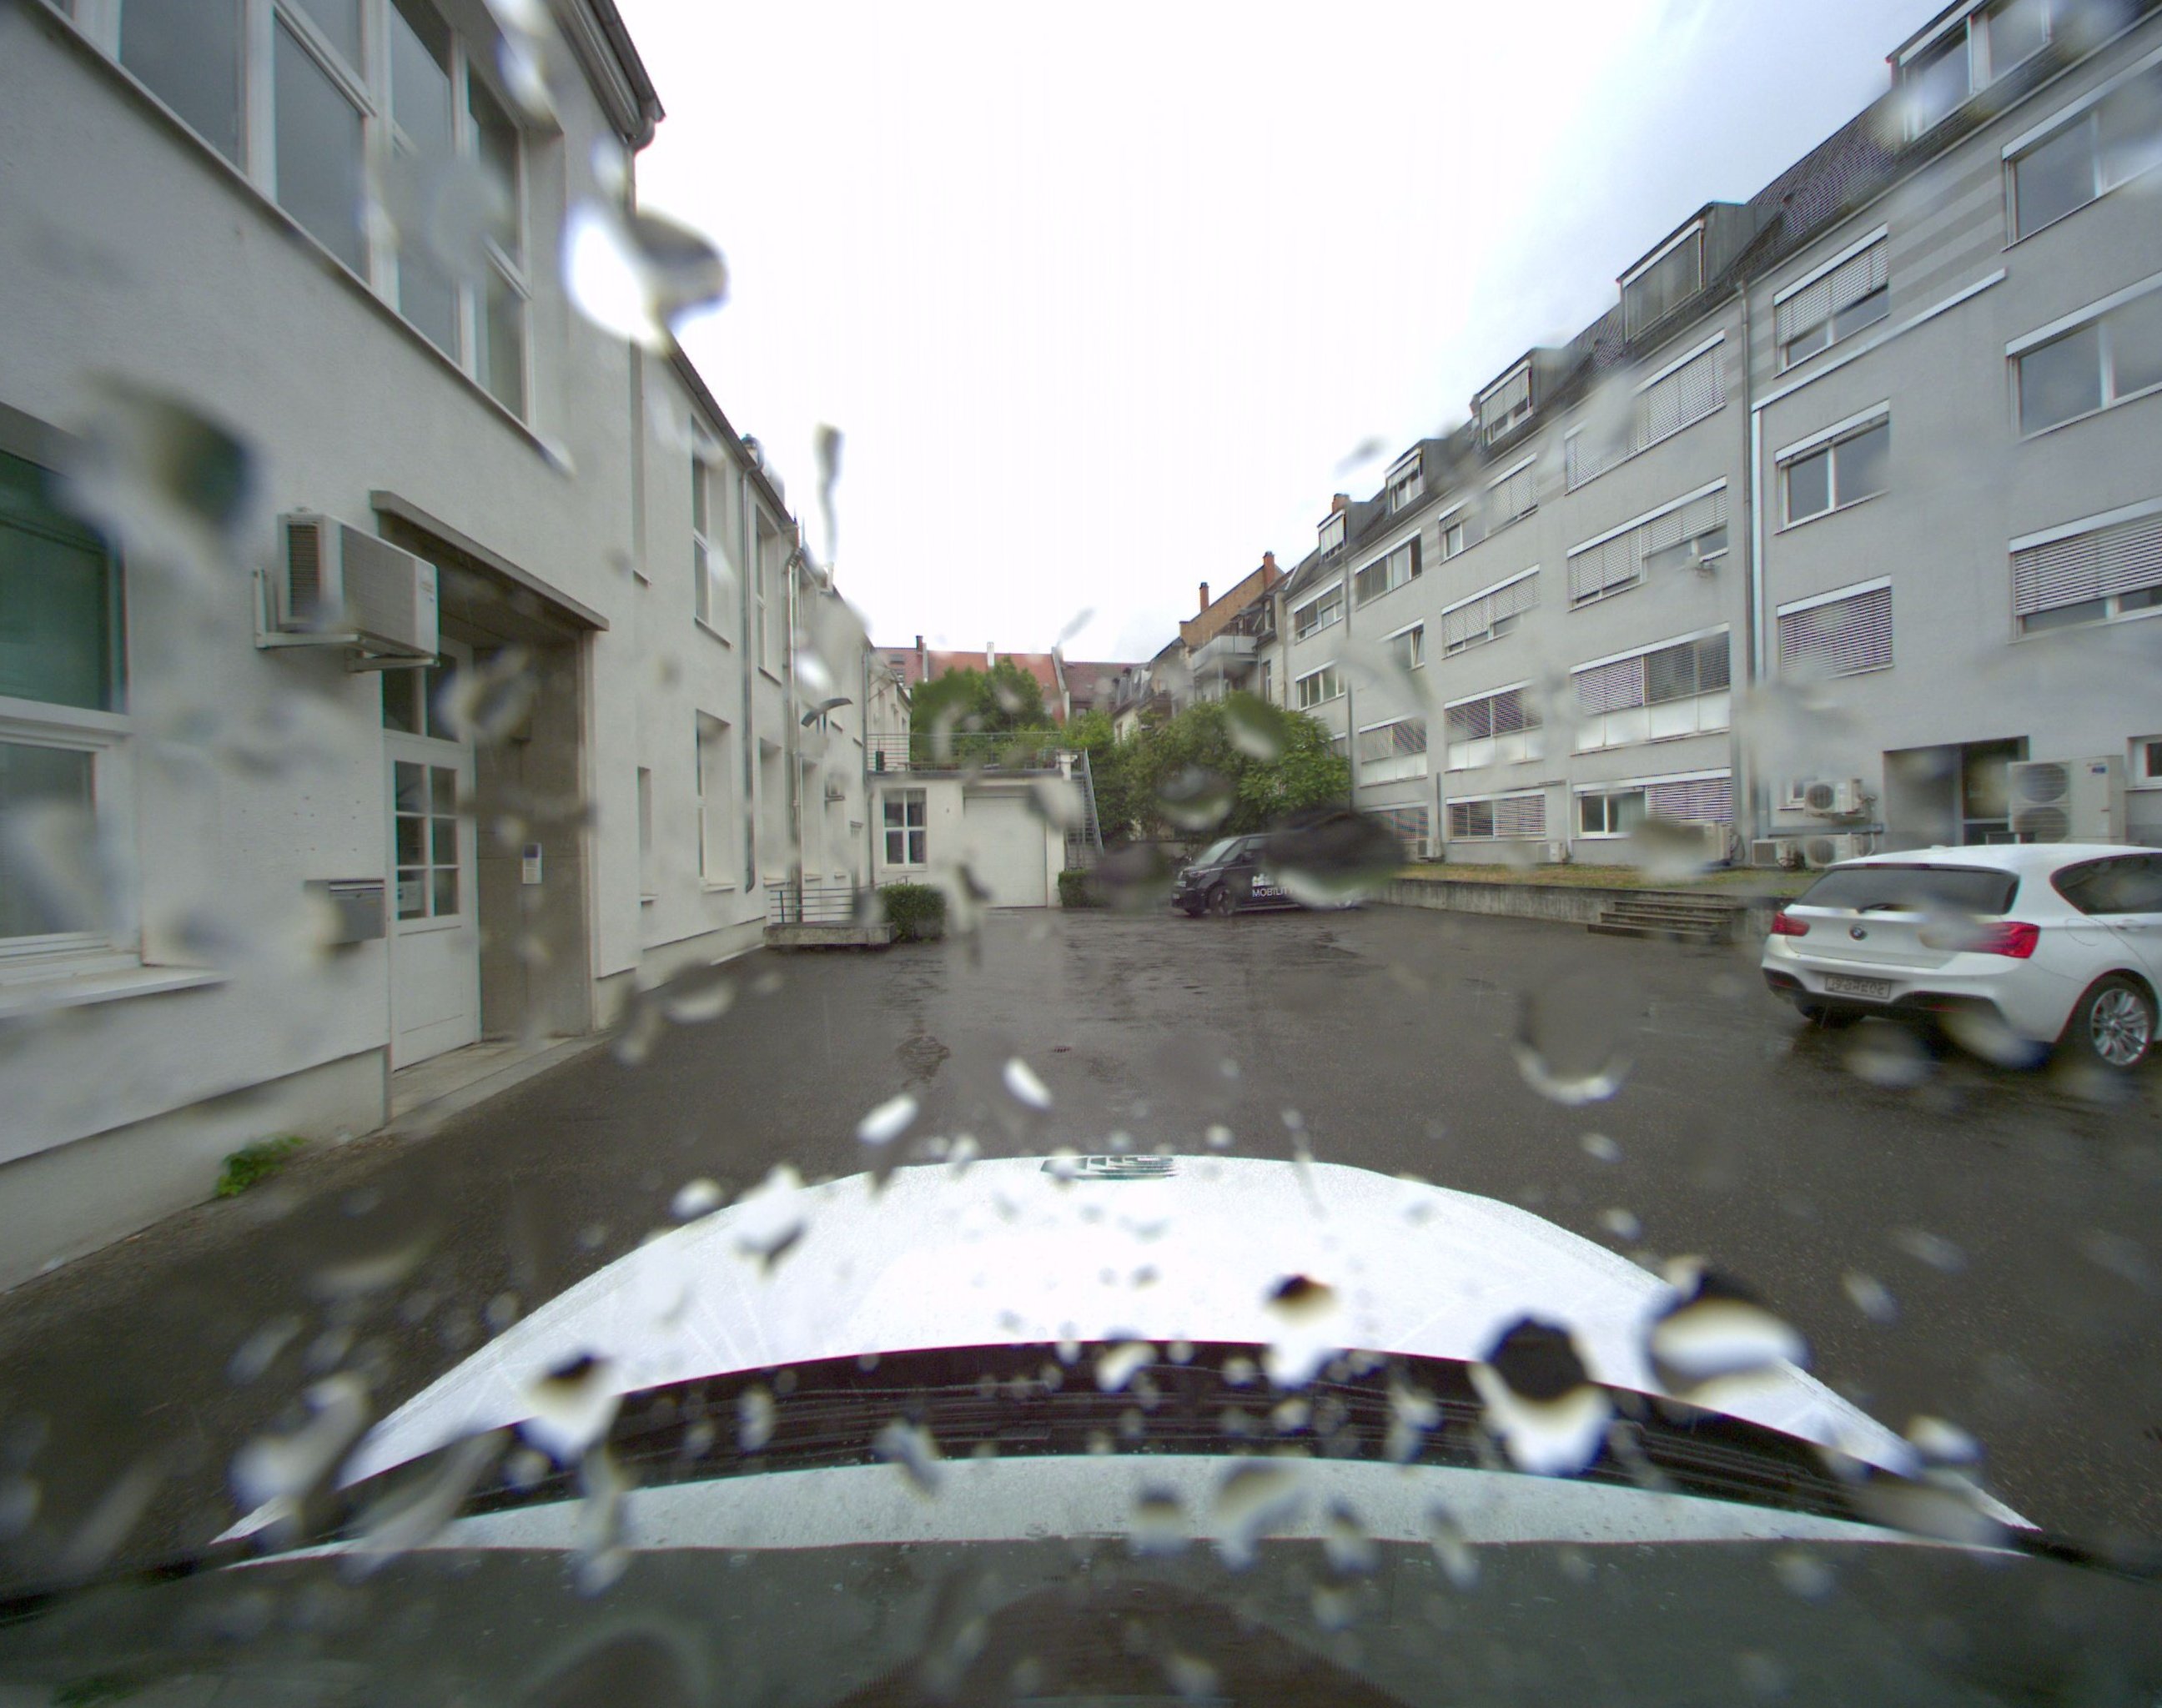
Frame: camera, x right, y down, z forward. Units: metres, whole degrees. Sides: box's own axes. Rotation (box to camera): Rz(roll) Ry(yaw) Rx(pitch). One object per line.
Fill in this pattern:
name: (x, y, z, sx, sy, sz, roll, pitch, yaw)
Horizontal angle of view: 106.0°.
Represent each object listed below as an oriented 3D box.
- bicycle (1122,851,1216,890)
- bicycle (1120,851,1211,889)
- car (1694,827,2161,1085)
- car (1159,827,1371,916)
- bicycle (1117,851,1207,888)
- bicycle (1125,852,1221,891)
bicycle: (3.116, 0.580, 28.813, 3.212, 1.242, 0.629, -2, -1, -9)
bicycle: (3.058, 0.570, 29.482, 3.212, 1.242, 0.629, -2, -1, -9)
car: (7.373, 0.571, 6.213, 4.207, 1.489, 1.994, -1, 1, -10)
car: (4.376, 0.384, 19.617, 4.514, 1.897, 2.037, -2, -1, -14)
bicycle: (2.995, 0.561, 30.131, 3.212, 1.242, 0.629, -2, -1, -9)
bicycle: (3.170, 0.590, 28.116, 3.212, 1.242, 0.629, -2, -1, -9)
